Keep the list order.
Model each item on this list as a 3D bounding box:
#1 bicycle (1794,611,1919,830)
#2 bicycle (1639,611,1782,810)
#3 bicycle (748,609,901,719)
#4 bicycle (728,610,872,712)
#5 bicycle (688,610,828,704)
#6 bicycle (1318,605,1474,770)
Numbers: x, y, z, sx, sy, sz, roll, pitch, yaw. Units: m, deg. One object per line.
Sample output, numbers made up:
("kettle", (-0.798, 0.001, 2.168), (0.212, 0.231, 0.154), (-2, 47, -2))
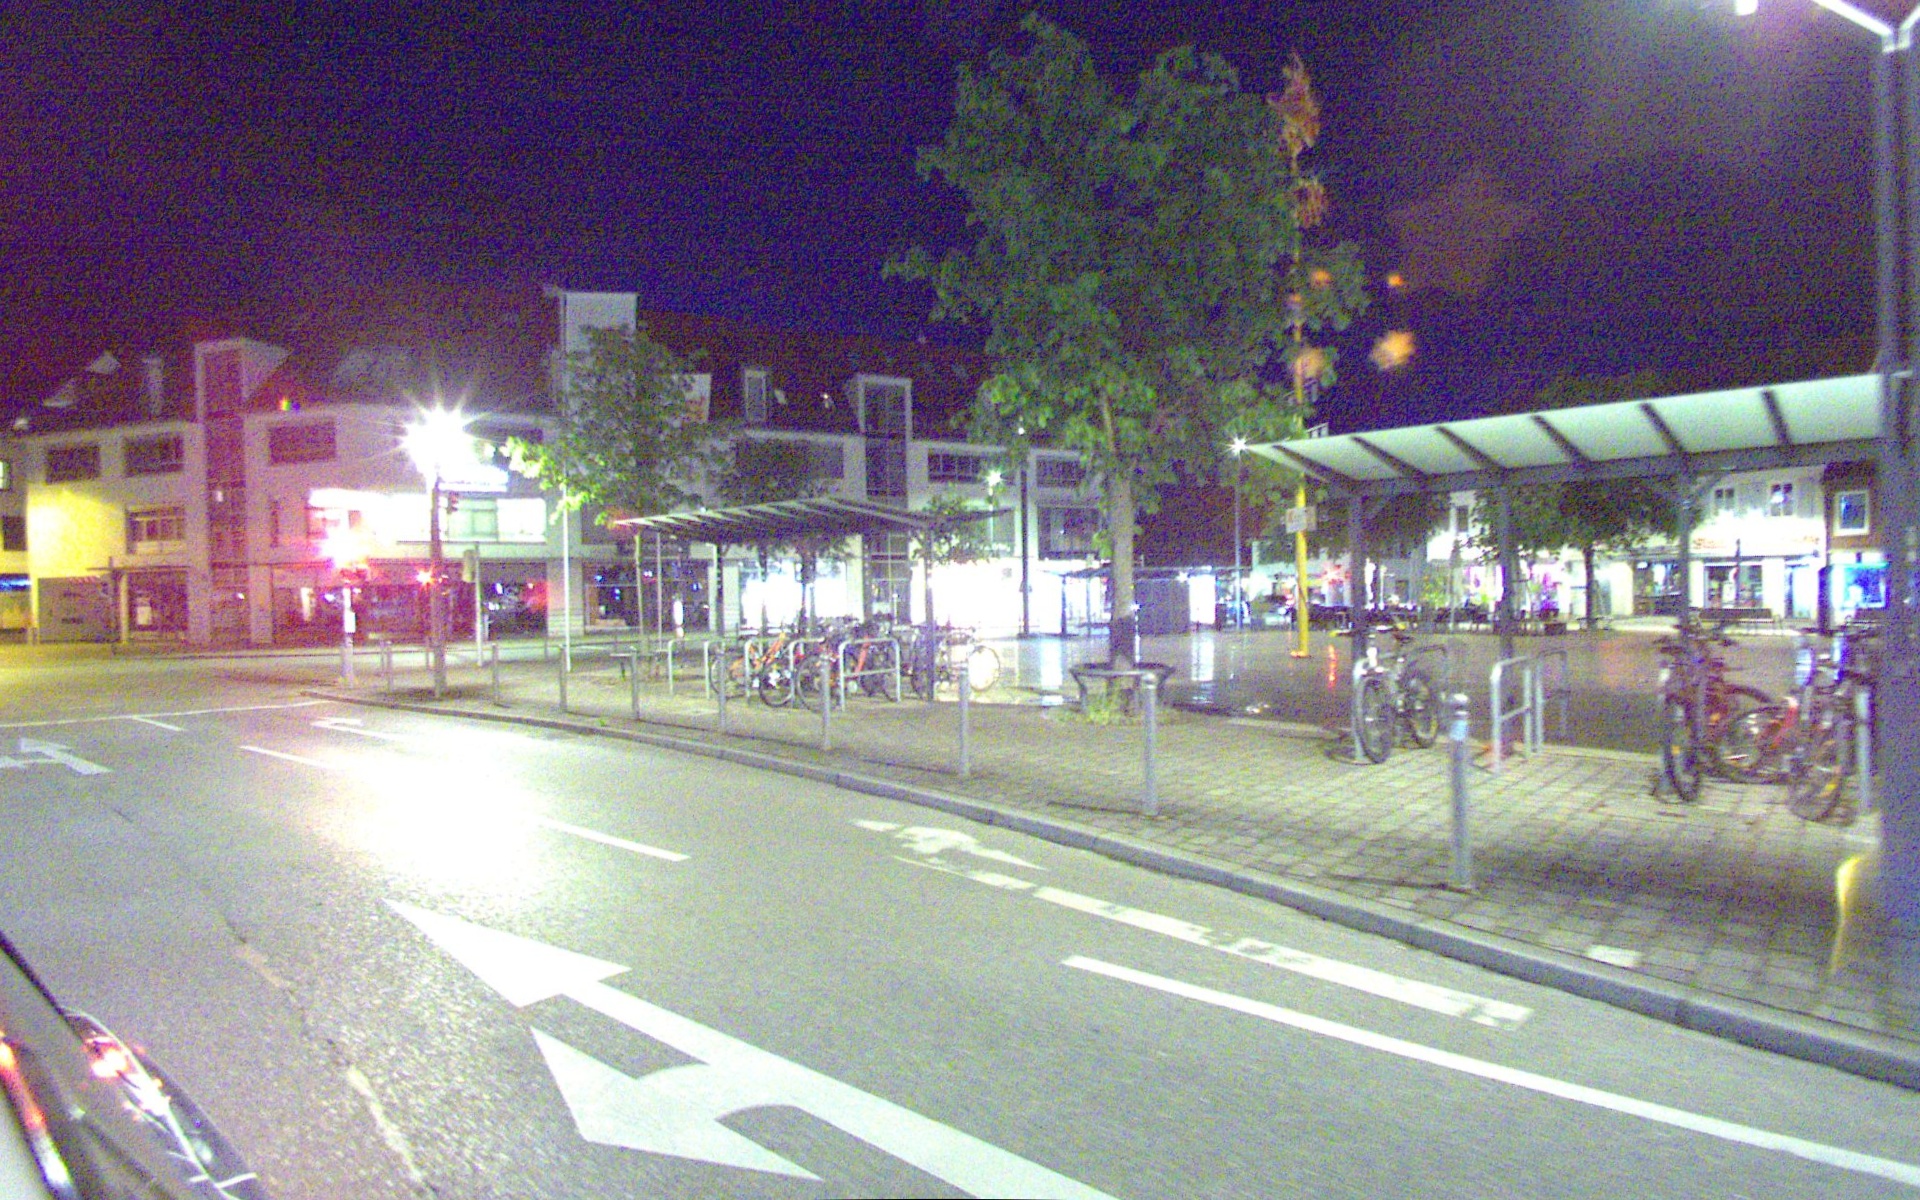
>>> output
("bicycle", (5.468, 0.647, 6.092), (0.670, 1.114, 1.599), (-1, 1, 40))
("bicycle", (5.008, 0.653, 6.713), (0.670, 1.114, 1.599), (0, 1, 40))
("bicycle", (-1.668, 0.756, 12.671), (1.715, 1.175, 0.787), (-4, 2, -45))
("bicycle", (-2.105, 0.766, 13.436), (1.715, 1.166, 0.787), (-4, 3, -45))
("bicycle", (-2.892, 0.781, 14.605), (1.813, 1.166, 0.787), (-4, 3, -45))
("bicycle", (3.576, 0.643, 8.221), (0.670, 1.173, 1.751), (-1, 0, 40))
